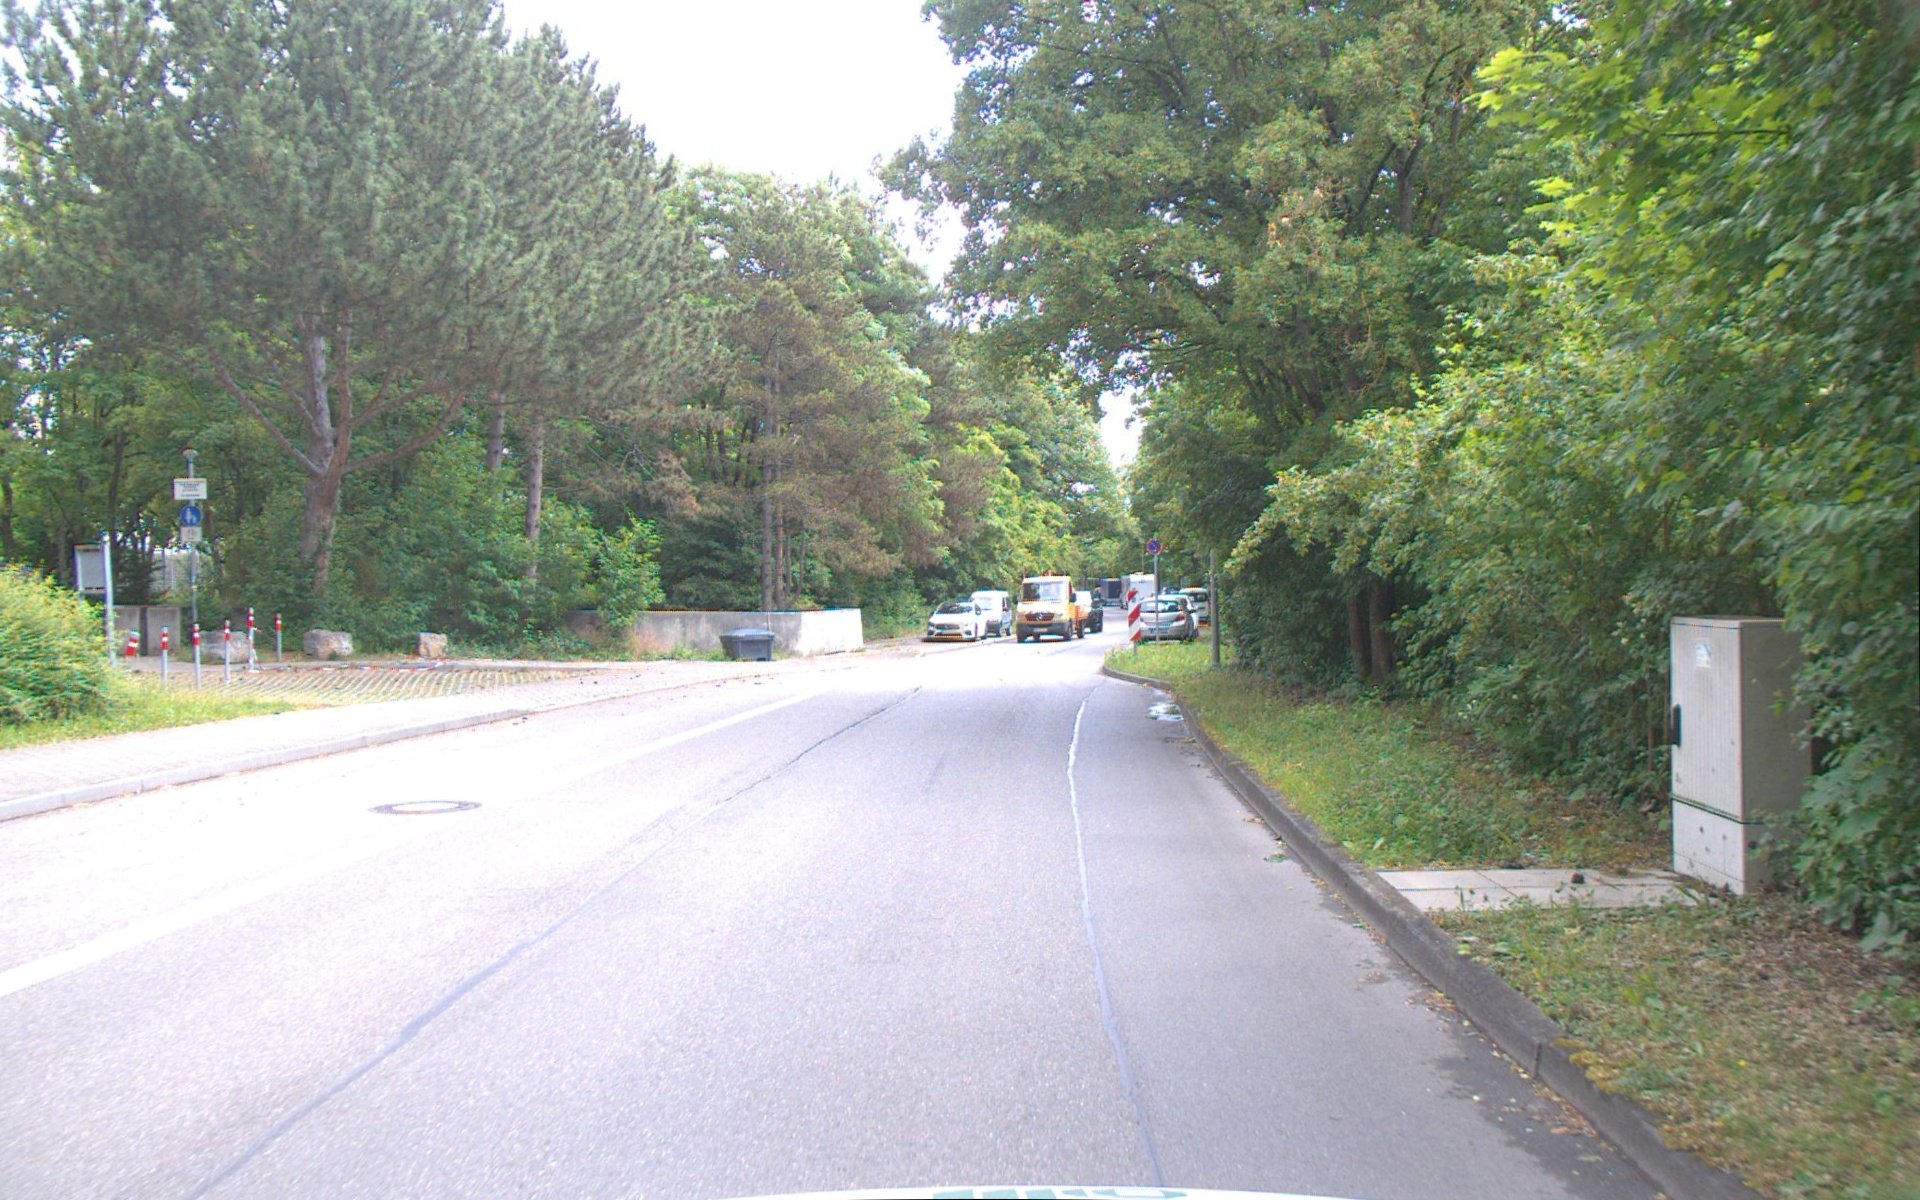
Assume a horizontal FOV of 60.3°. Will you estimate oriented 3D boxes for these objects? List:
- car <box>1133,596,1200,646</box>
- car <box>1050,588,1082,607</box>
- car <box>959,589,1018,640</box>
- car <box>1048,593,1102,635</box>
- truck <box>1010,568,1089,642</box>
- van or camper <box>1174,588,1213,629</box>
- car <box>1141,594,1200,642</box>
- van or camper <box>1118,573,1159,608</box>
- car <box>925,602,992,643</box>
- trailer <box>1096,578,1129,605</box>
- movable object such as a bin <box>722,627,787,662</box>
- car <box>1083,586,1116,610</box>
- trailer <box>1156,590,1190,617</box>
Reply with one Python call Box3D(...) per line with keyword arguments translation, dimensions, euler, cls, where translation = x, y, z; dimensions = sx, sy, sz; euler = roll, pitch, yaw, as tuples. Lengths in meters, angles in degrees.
Box3D(translation=(6.385, 0.623, 50.805), dimensions=(1.754, 1.435, 4.062), euler=(-2, 0, 11), cls="car")
Box3D(translation=(10.960, -0.296, 170.910), dimensions=(2.002, 1.835, 4.066), euler=(-2, 1, -16), cls="car")
Box3D(translation=(1.180, 0.552, 67.337), dimensions=(1.684, 1.955, 4.108), euler=(0, 1, 11), cls="car")
Box3D(translation=(5.124, 0.609, 73.024), dimensions=(1.951, 1.766, 5.341), euler=(-1, 0, 8), cls="car")
Box3D(translation=(3.357, 0.154, 60.768), dimensions=(2.273, 2.513, 6.025), euler=(-2, 0, 9), cls="truck")
Box3D(translation=(11.232, 0.447, 79.361), dimensions=(1.763, 1.870, 4.324), euler=(-1, -2, 9), cls="van or camper")
Box3D(translation=(7.444, 0.604, 58.184), dimensions=(1.846, 1.533, 5.180), euler=(-2, 0, 9), cls="car")
Box3D(translation=(15.203, -0.794, 141.526), dimensions=(2.432, 2.926, 6.886), euler=(-2, 0, -3), cls="van or camper")
Box3D(translation=(-0.014, 0.802, 60.454), dimensions=(1.767, 1.427, 4.375), euler=(0, 0, 9), cls="car")
Box3D(translation=(14.024, -0.781, 152.261), dimensions=(1.957, 2.440, 3.990), euler=(-2, 0, -10), cls="trailer")
Box3D(translation=(-4.592, 0.988, 36.940), dimensions=(1.131, 0.774, 1.039), euler=(1, -1, -28), cls="movable object such as a bin")
Box3D(translation=(13.276, -0.235, 157.704), dimensions=(1.959, 2.060, 3.990), euler=(-4, 2, -11), cls="car")
Box3D(translation=(15.617, 0.260, 121.634), dimensions=(1.938, 1.843, 5.150), euler=(-2, 1, 2), cls="trailer")
